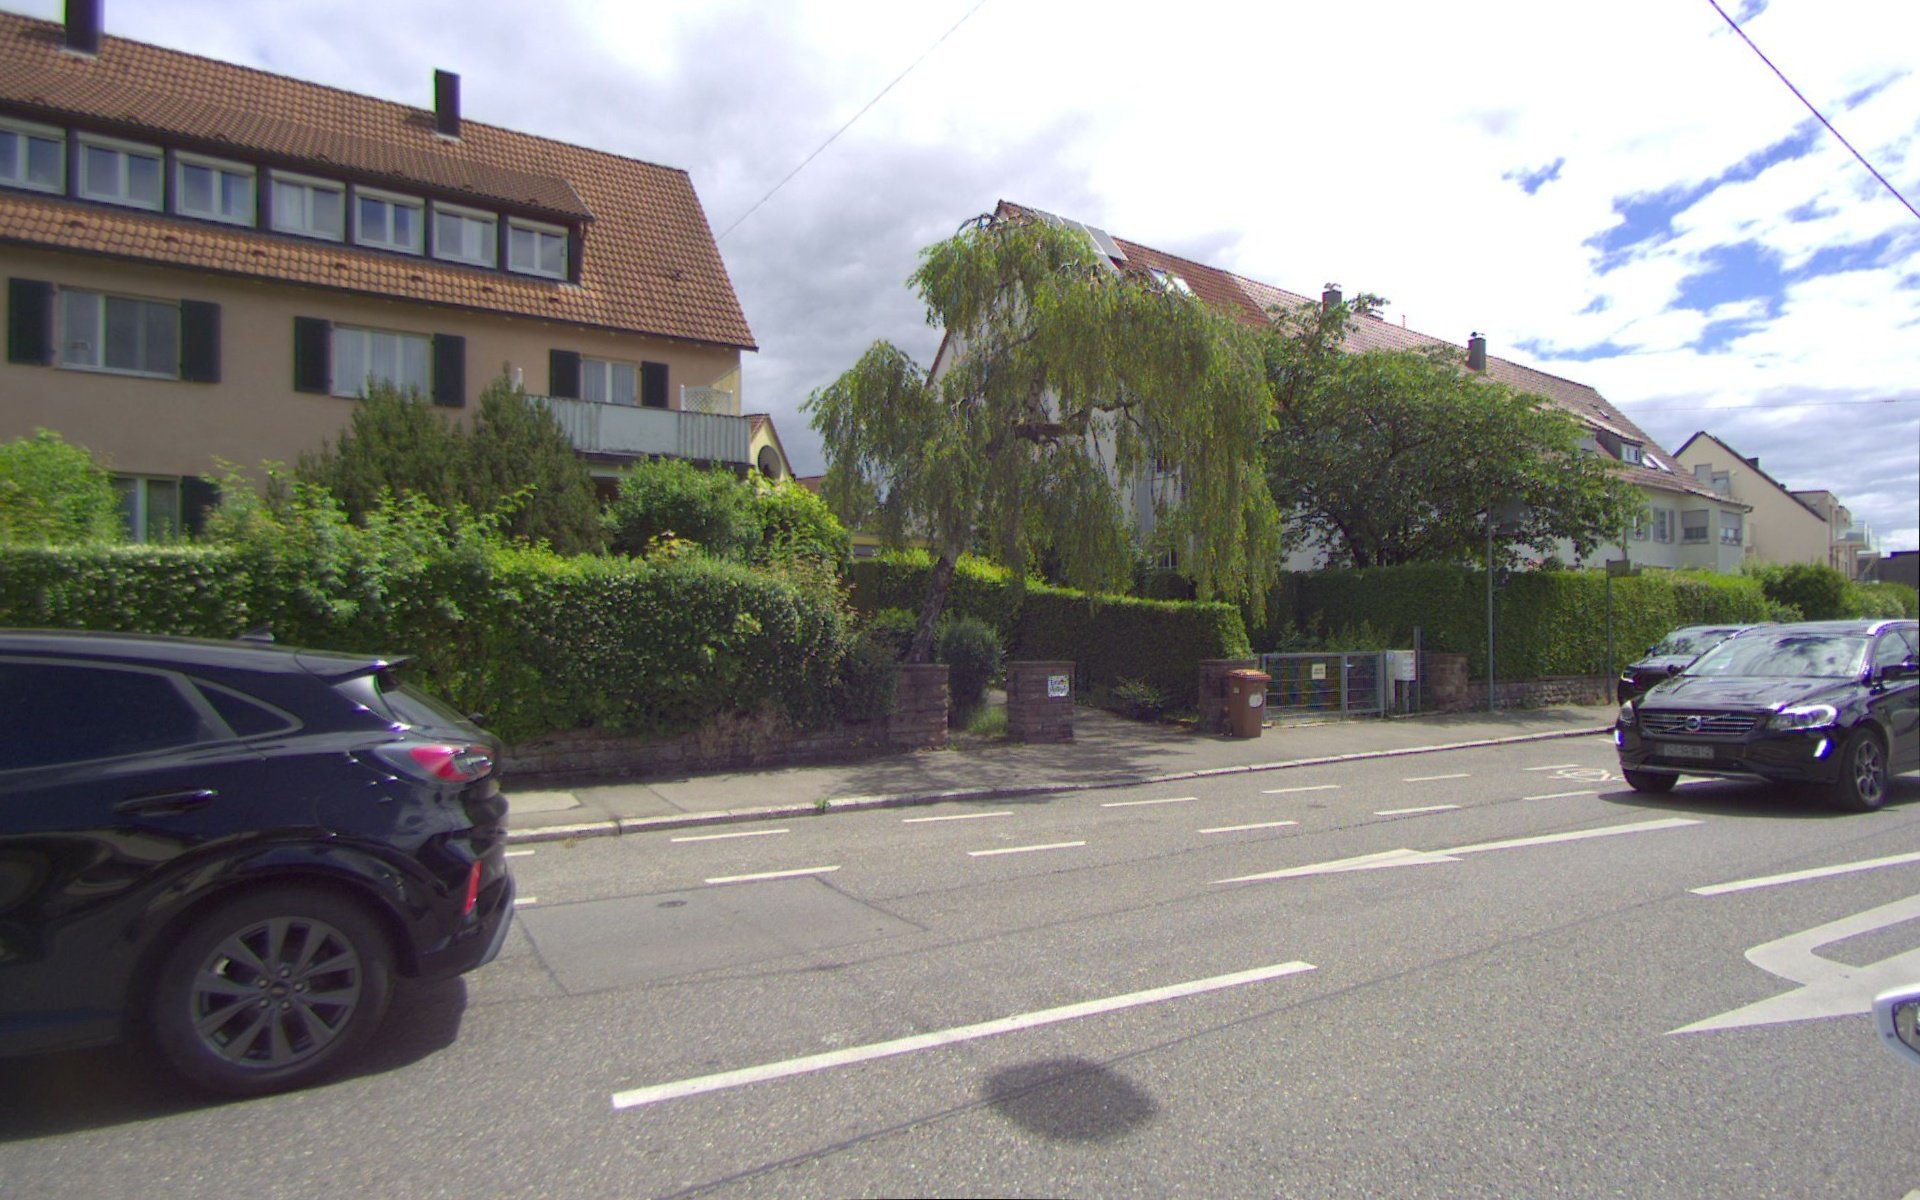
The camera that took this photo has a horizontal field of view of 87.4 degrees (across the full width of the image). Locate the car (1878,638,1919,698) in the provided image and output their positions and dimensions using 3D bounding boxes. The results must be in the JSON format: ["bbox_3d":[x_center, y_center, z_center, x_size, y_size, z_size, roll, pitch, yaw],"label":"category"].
[{"bbox_3d":[26.111,1.783,26.884,4.530,1.511,1.762,2,-2,-41],"label":"car"}]

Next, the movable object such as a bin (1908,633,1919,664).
[{"bbox_3d":[46.098,2.315,47.980,1.204,1.501,1.056,1,-2,-40],"label":"movable object such as a bin"}]

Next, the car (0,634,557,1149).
[{"bbox_3d":[-3.635,0.861,3.398,4.064,1.475,1.691,2,-3,-28],"label":"car"}]

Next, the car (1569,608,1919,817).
[{"bbox_3d":[8.291,1.029,9.953,4.240,1.669,1.909,1,-6,-29],"label":"car"}]

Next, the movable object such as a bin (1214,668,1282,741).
[{"bbox_3d":[4.113,1.481,14.366,0.638,0.957,0.672,1,0,-32],"label":"movable object such as a bin"}]

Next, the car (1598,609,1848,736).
[{"bbox_3d":[13.435,1.213,17.569,5.351,1.919,1.980,2,-4,-36],"label":"car"}]

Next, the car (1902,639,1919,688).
[{"bbox_3d":[30.412,1.915,30.396,4.645,1.427,1.980,2,-2,-37],"label":"car"}]

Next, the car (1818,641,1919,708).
[{"bbox_3d":[22.120,1.713,23.903,4.401,1.436,1.764,2,-2,-38],"label":"car"}]
